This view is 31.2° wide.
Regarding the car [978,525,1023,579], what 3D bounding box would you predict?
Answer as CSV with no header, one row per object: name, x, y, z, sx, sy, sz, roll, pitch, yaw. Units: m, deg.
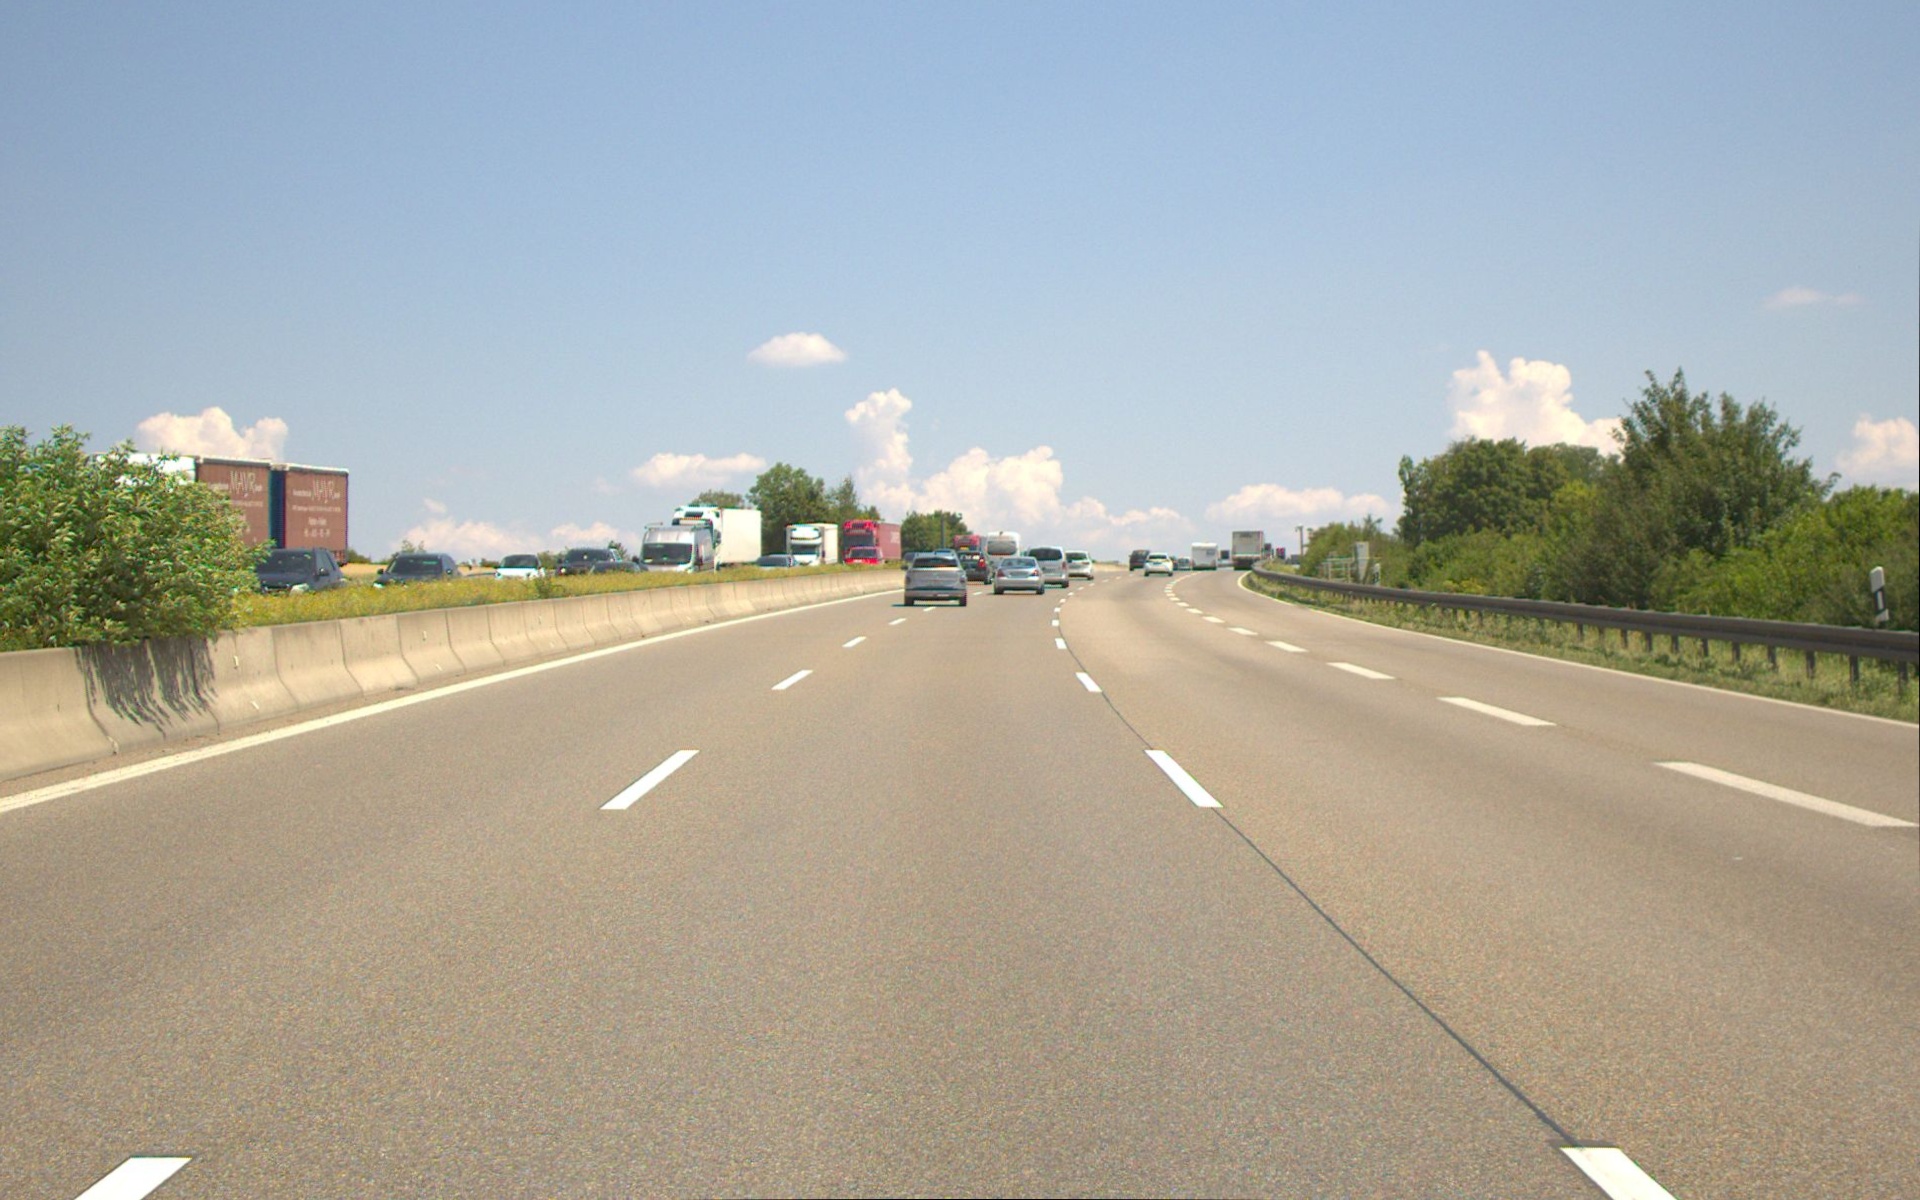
car,2.151,-2.498,181.673,2.180,2.616,4.671,1,-2,2

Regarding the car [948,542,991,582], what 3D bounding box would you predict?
car,0.461,-1.844,166.448,1.847,1.854,4.205,1,2,3

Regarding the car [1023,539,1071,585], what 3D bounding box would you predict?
car,3.893,-1.684,153.060,1.994,1.897,3.999,0,-2,3

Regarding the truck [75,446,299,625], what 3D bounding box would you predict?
truck,-19.128,-1.593,85.850,2.887,4.157,10.622,1,1,2

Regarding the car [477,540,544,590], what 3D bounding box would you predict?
car,-17.202,-1.343,131.695,1.993,1.842,4.000,0,0,1

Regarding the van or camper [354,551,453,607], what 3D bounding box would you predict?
van or camper,-14.939,-0.591,92.477,1.993,1.448,4.000,0,1,0

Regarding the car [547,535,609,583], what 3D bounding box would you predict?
car,-13.668,-1.468,123.116,1.737,1.664,4.000,1,1,1

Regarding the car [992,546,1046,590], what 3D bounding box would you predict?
car,2.231,-1.201,129.202,1.993,1.579,4.000,0,0,1

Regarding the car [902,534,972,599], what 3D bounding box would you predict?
car,-0.668,-0.978,101.660,1.993,1.744,4.000,1,-2,0

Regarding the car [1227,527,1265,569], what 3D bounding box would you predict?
car,15.916,-2.907,191.539,1.994,2.293,6.262,0,1,4

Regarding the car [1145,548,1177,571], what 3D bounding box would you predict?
car,12.610,-2.544,215.456,1.902,1.437,4.000,1,1,4

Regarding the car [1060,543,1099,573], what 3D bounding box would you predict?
car,6.638,-2.314,190.343,1.994,1.546,4.000,2,1,4
